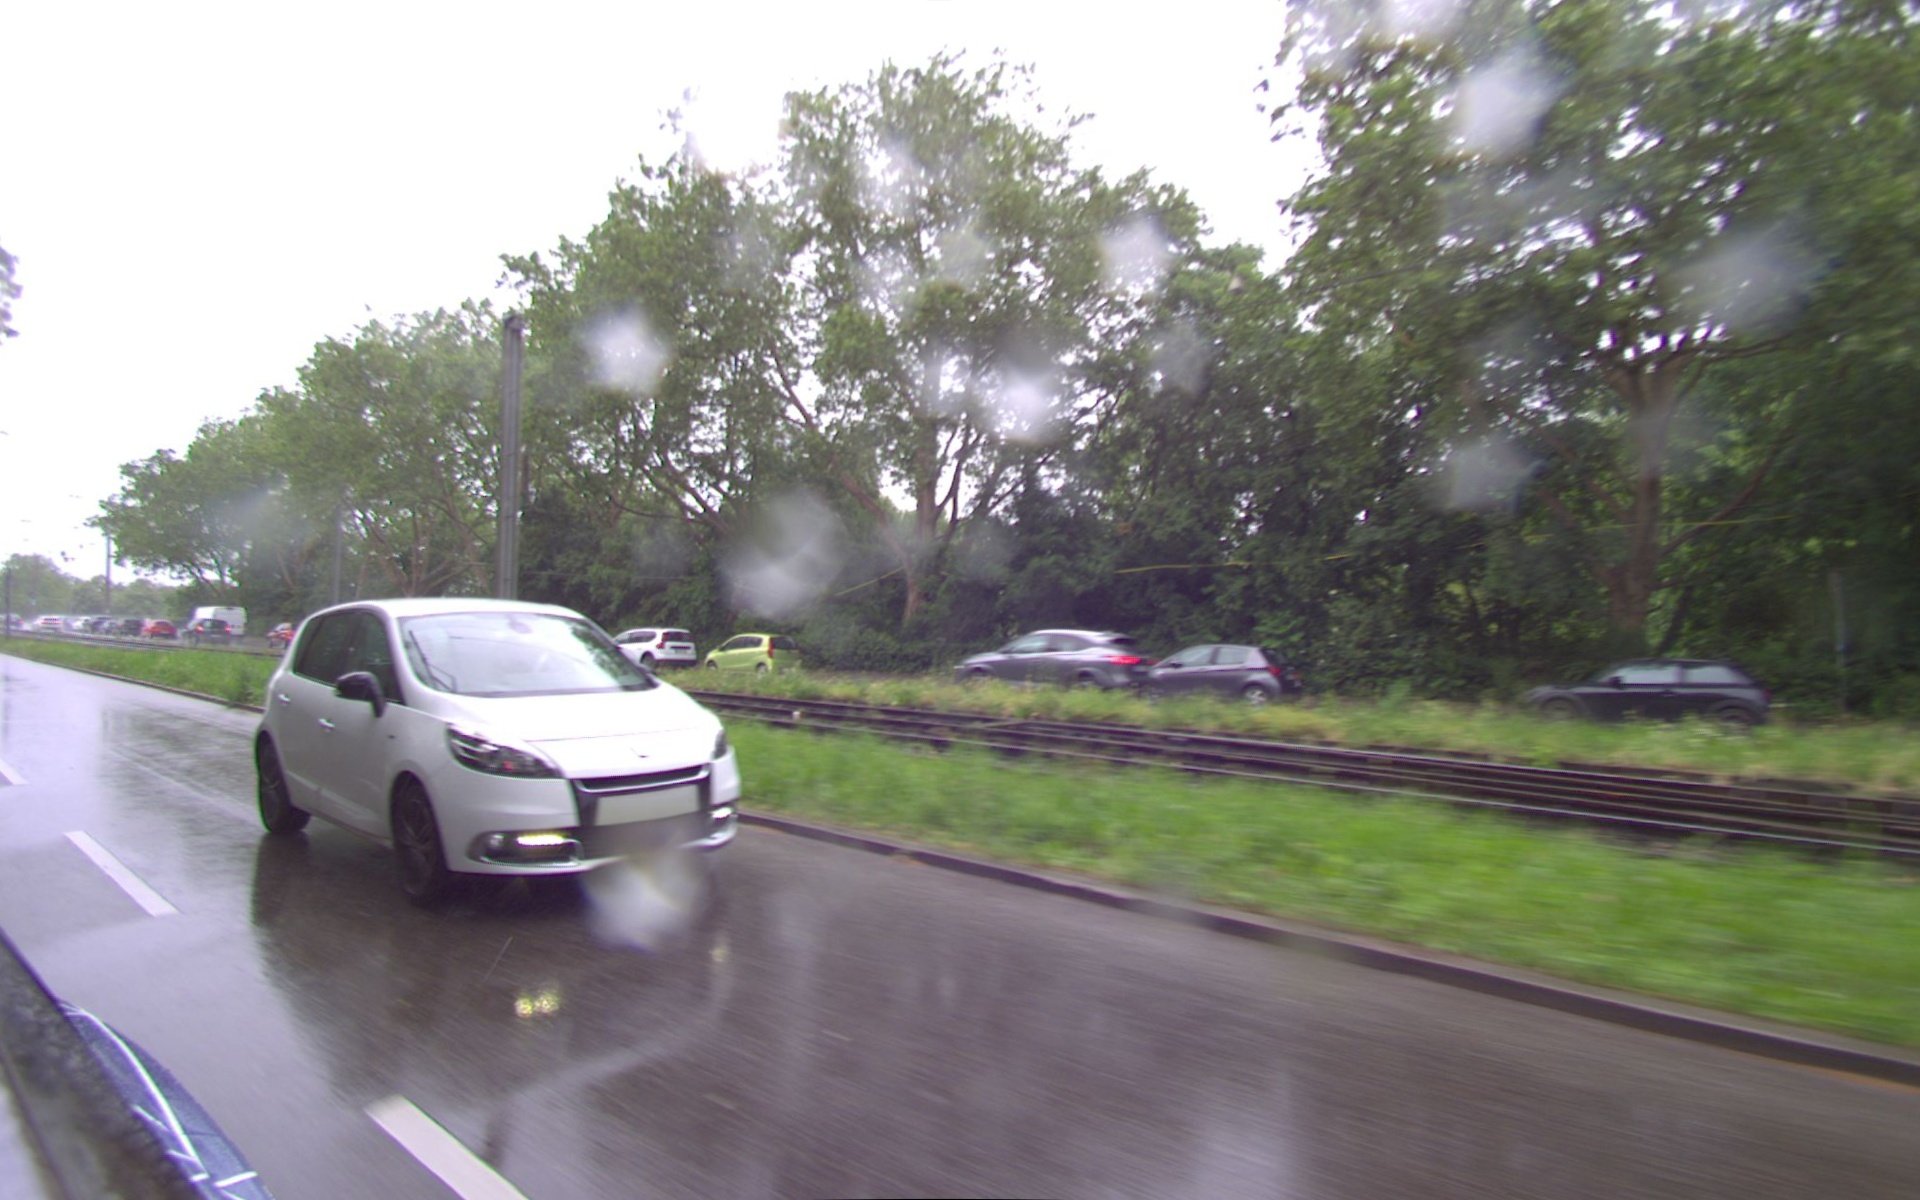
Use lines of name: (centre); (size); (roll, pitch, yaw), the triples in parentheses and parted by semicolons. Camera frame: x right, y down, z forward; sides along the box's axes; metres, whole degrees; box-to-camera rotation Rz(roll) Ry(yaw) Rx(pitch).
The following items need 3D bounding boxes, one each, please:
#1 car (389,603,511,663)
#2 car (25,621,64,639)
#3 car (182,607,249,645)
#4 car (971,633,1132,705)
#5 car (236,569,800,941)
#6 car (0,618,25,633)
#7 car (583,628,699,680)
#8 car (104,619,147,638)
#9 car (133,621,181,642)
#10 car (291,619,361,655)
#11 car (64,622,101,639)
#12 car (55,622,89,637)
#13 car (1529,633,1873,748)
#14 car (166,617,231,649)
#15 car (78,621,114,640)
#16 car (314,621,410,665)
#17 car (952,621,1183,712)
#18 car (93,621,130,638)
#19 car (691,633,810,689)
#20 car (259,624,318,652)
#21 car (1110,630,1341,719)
car: (-23.395, 1.483, 46.295); (6.559, 2.560, 2.366); (0, -3, 39)
car: (-86.072, 2.800, 95.150); (4.763, 1.579, 1.958); (0, -3, 39)
car: (-51.815, 1.810, 70.378); (6.134, 2.464, 2.306); (0, -3, 40)
car: (2.316, 1.742, 26.053); (3.809, 1.661, 1.744); (0, -3, 39)
car: (-3.099, 0.702, 6.602); (4.263, 1.636, 1.844); (-1, -1, 43)
car: (-102.193, 2.765, 108.695); (4.563, 1.564, 2.012); (0, -1, 40)
car: (-11.575, 1.916, 36.561); (4.526, 1.741, 1.733); (0, -3, 39)
car: (-72.328, 2.460, 87.700); (4.380, 1.564, 2.013); (0, -3, 39)
car: (-63.783, 2.470, 80.379); (4.380, 1.564, 2.013); (0, -3, 39)
car: (-35.257, 2.030, 56.239); (4.637, 1.876, 1.937); (-1, -3, 40)
car: (-85.900, 2.991, 99.056); (4.574, 1.522, 1.867); (0, -3, 39)
car: (-90.307, 2.996, 102.886); (4.124, 1.442, 1.633); (0, -3, 36)
car: (12.694, 1.471, 17.627); (4.605, 1.670, 2.012); (0, -3, 39)
car: (-44.549, 1.897, 59.184); (4.254, 1.764, 2.012); (0, -3, 39)
car: (-80.941, 2.887, 94.791); (4.365, 1.663, 1.866); (-1, -3, 40)
car: (-26.050, 1.842, 44.018); (4.688, 1.764, 2.012); (0, -3, 39)
car: (2.177, 1.317, 21.047); (4.390, 1.670, 1.994); (0, -3, 39)
car: (-76.242, 2.645, 90.940); (3.962, 1.389, 1.866); (-1, -3, 40)
car: (-6.870, 1.959, 33.047); (3.809, 1.661, 1.744); (0, -3, 39)
car: (-39.910, 2.255, 60.120); (4.022, 1.564, 1.799); (-1, -3, 40)
car: (5.972, 1.624, 23.020); (4.688, 1.764, 2.012); (0, -3, 39)
